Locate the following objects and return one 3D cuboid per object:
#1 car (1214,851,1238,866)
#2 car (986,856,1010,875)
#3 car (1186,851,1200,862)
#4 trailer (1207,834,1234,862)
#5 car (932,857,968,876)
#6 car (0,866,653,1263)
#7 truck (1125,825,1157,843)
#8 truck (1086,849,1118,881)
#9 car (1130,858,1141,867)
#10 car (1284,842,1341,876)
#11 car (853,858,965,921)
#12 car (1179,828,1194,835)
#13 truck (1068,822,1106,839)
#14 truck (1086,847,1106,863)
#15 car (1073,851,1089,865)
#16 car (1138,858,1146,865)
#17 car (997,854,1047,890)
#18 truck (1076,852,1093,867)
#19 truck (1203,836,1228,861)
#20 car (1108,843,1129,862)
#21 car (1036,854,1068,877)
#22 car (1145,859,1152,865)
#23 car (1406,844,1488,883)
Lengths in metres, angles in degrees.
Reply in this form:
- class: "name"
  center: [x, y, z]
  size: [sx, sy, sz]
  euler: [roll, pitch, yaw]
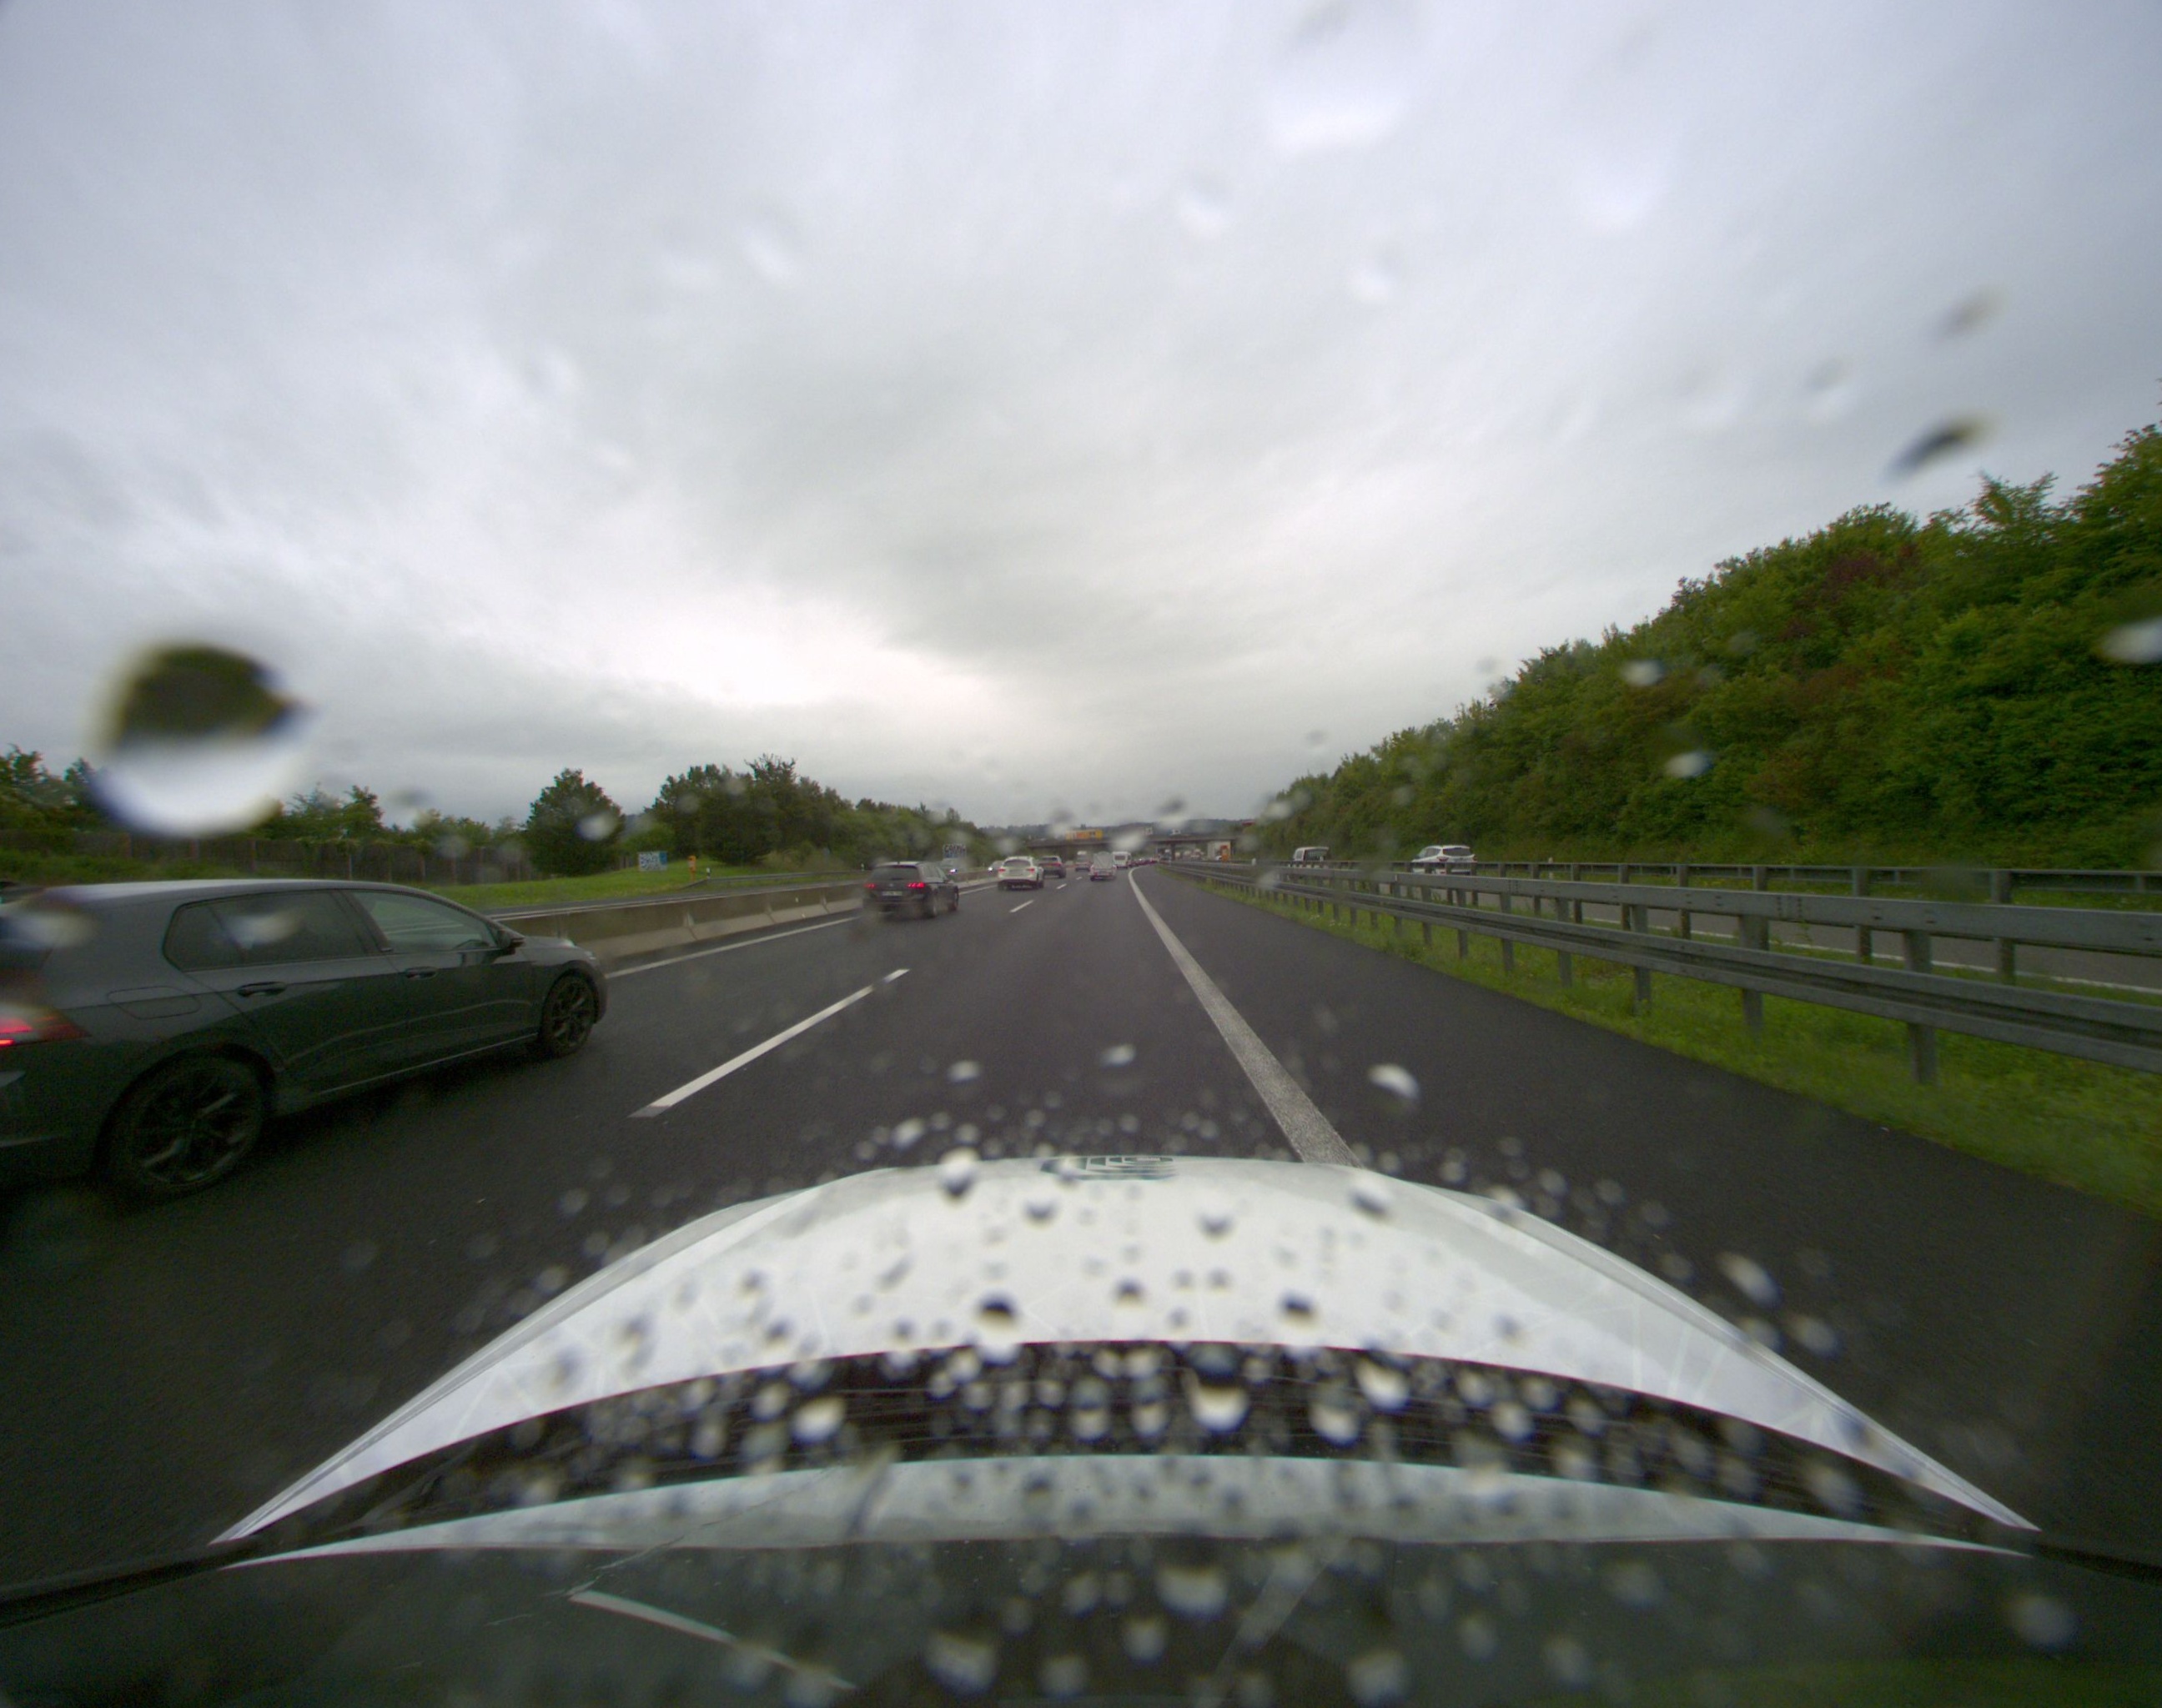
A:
- class: "car"
  center: [16.112, 0.478, 90.784]
  size: [2.000, 1.548, 4.698]
  euler: [-1, 0, 2]
- class: "car"
  center: [-8.644, 1.182, 84.760]
  size: [1.987, 1.902, 4.173]
  euler: [0, 0, 1]
- class: "car"
  center: [18.204, 0.371, 132.865]
  size: [1.852, 1.805, 4.652]
  euler: [-1, 0, 4]
- class: "trailer"
  center: [22.644, -0.927, 132.573]
  size: [3.421, 4.289, 10.468]
  euler: [-1, 0, 5]
- class: "car"
  center: [-10.796, 1.001, 67.412]
  size: [1.975, 1.506, 4.639]
  euler: [-1, 0, 2]
- class: "car"
  center: [-4.926, 0.840, 5.186]
  size: [1.893, 1.405, 4.461]
  euler: [-1, 0, 2]
- class: "truck"
  center: [17.326, -5.888, 237.110]
  size: [3.795, 4.836, 9.933]
  euler: [-1, 0, -36]
- class: "truck"
  center: [1.495, 0.684, 55.970]
  size: [2.011, 1.985, 7.216]
  euler: [-1, 0, 2]
- class: "car"
  center: [11.240, 1.724, 168.230]
  size: [1.988, 1.750, 3.998]
  euler: [0, 0, -1]
- class: "car"
  center: [13.152, 0.297, 46.571]
  size: [2.001, 1.815, 4.275]
  euler: [-1, 0, 0]
- class: "car"
  center: [-4.572, 0.898, 22.411]
  size: [1.893, 1.497, 4.853]
  euler: [-1, -1, 1]
- class: "car"
  center: [28.726, -6.076, 221.800]
  size: [1.851, 1.915, 3.955]
  euler: [0, 0, -37]
- class: "truck"
  center: [1.793, -7.377, 259.965]
  size: [3.795, 4.836, 15.077]
  euler: [-1, 0, -36]
- class: "truck"
  center: [3.440, 0.196, 185.991]
  size: [3.749, 3.554, 13.203]
  euler: [-1, 0, 5]
- class: "car"
  center: [0.008, 0.516, 99.351]
  size: [1.894, 1.613, 4.017]
  euler: [-1, 0, 0]
- class: "car"
  center: [15.716, 1.963, 210.960]
  size: [1.985, 1.750, 4.003]
  euler: [0, 0, 3]
- class: "car"
  center: [-2.876, 0.834, 40.605]
  size: [1.968, 1.639, 4.503]
  euler: [-1, 0, 2]
- class: "truck"
  center: [1.036, 1.502, 226.171]
  size: [3.749, 3.992, 13.203]
  euler: [-1, 0, 5]
- class: "truck"
  center: [23.487, -0.964, 142.999]
  size: [3.421, 4.289, 10.431]
  euler: [-1, 0, 4]
- class: "car"
  center: [5.669, -0.257, 122.050]
  size: [3.004, 2.616, 6.080]
  euler: [-1, 0, 3]
- class: "car"
  center: [-2.206, 0.850, 63.044]
  size: [2.166, 1.631, 4.502]
  euler: [-1, 0, 2]
- class: "car"
  center: [20.056, 2.472, 242.609]
  size: [1.985, 1.750, 4.004]
  euler: [0, 0, 4]
- class: "car"
  center: [16.223, 0.415, 36.355]
  size: [1.889, 1.612, 4.148]
  euler: [-1, 0, 2]
